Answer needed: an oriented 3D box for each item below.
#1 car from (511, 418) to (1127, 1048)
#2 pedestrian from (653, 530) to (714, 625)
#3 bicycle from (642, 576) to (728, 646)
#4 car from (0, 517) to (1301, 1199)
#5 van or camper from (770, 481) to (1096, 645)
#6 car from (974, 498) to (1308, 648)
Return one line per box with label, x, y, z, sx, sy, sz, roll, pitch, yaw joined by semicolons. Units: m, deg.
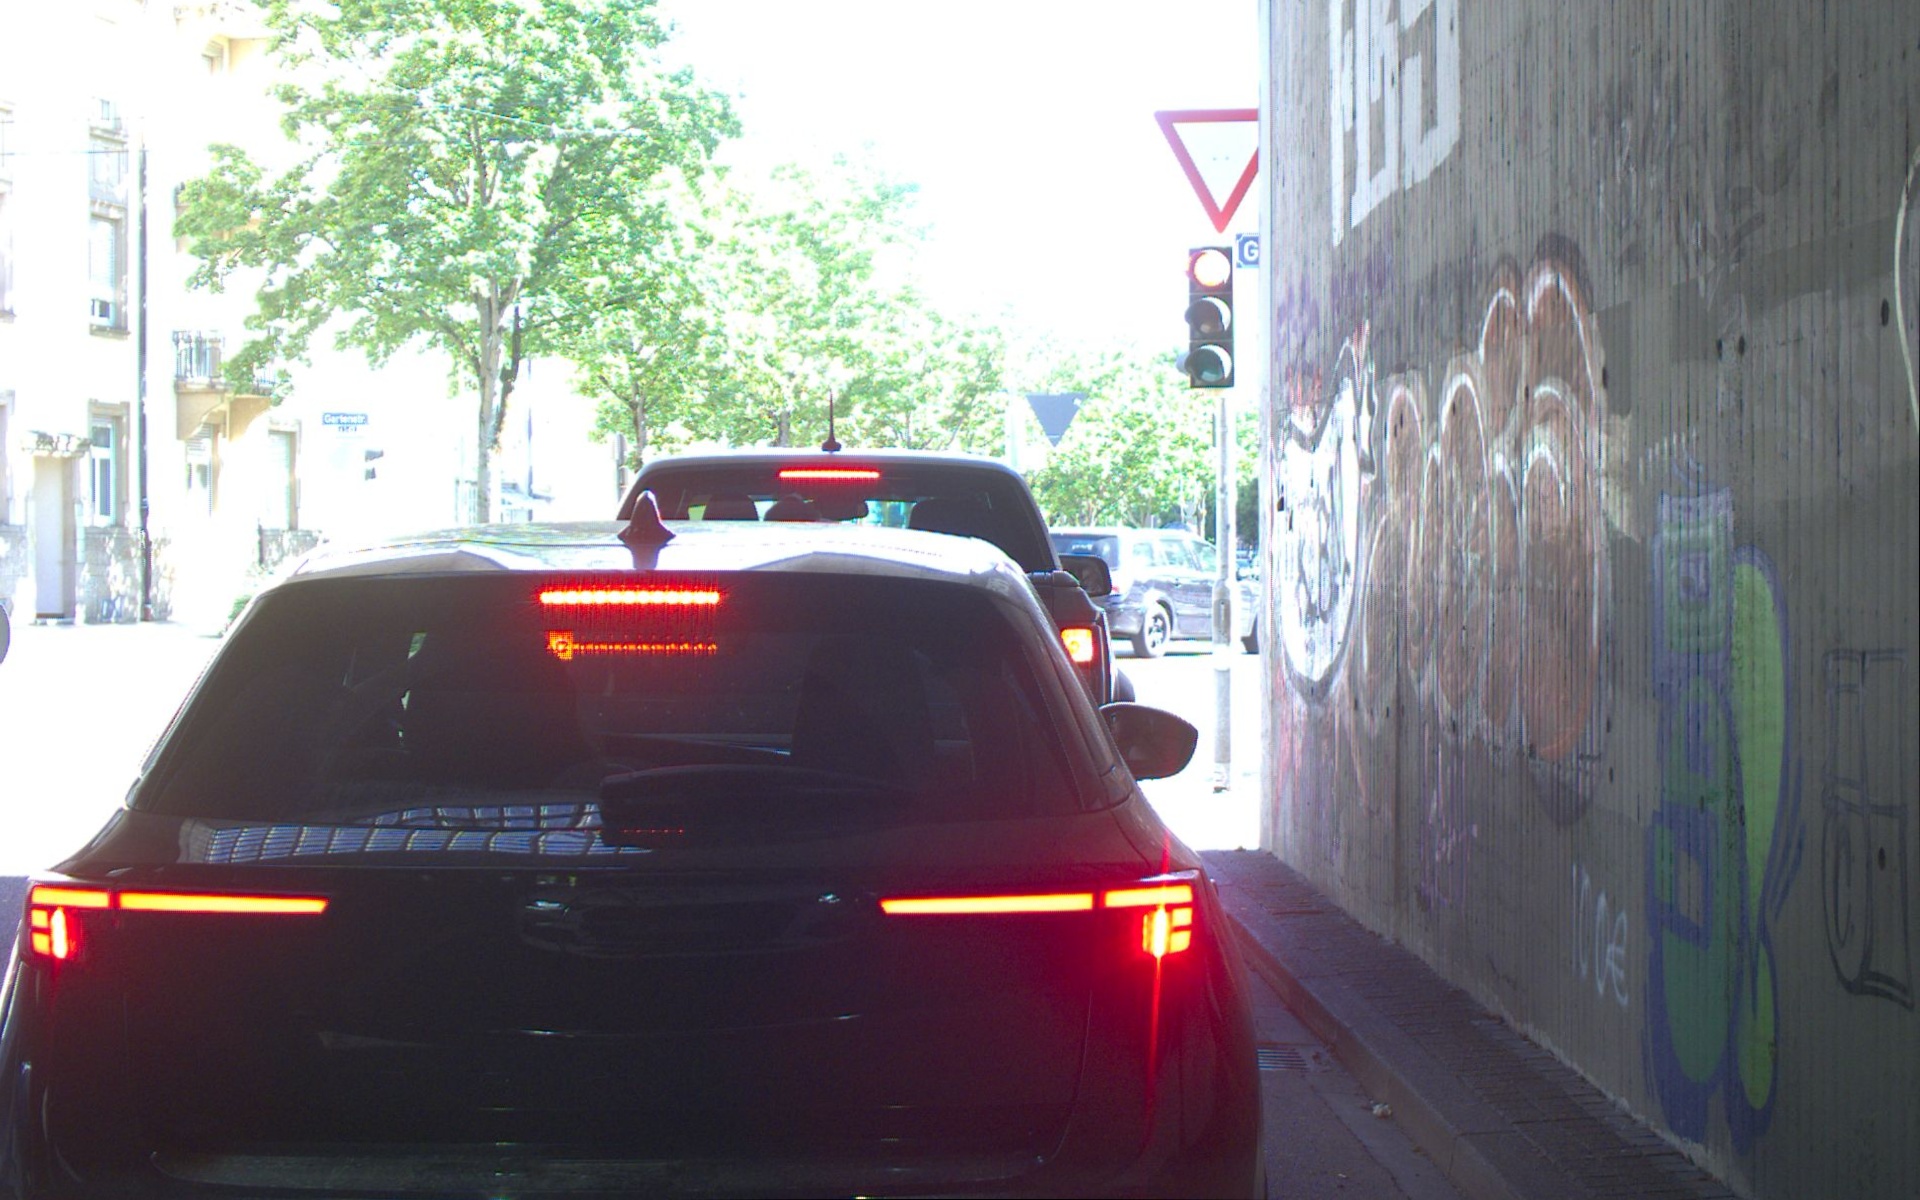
car;-0.430;0.354;12.051;1.786;1.827;3.961;1;1;0
pedestrian;-4.633;-0.377;57.707;0.736;1.579;0.889;1;0;15
bicycle;-4.605;0.176;57.711;0.737;1.126;2.025;0;1;17
car;-0.486;0.619;6.161;1.753;1.493;4.000;1;1;0
van or camper;-0.307;-0.471;43.376;3.878;2.007;2.000;0;1;7
car;2.211;-0.363;40.703;1.997;1.635;4.585;0;2;31
